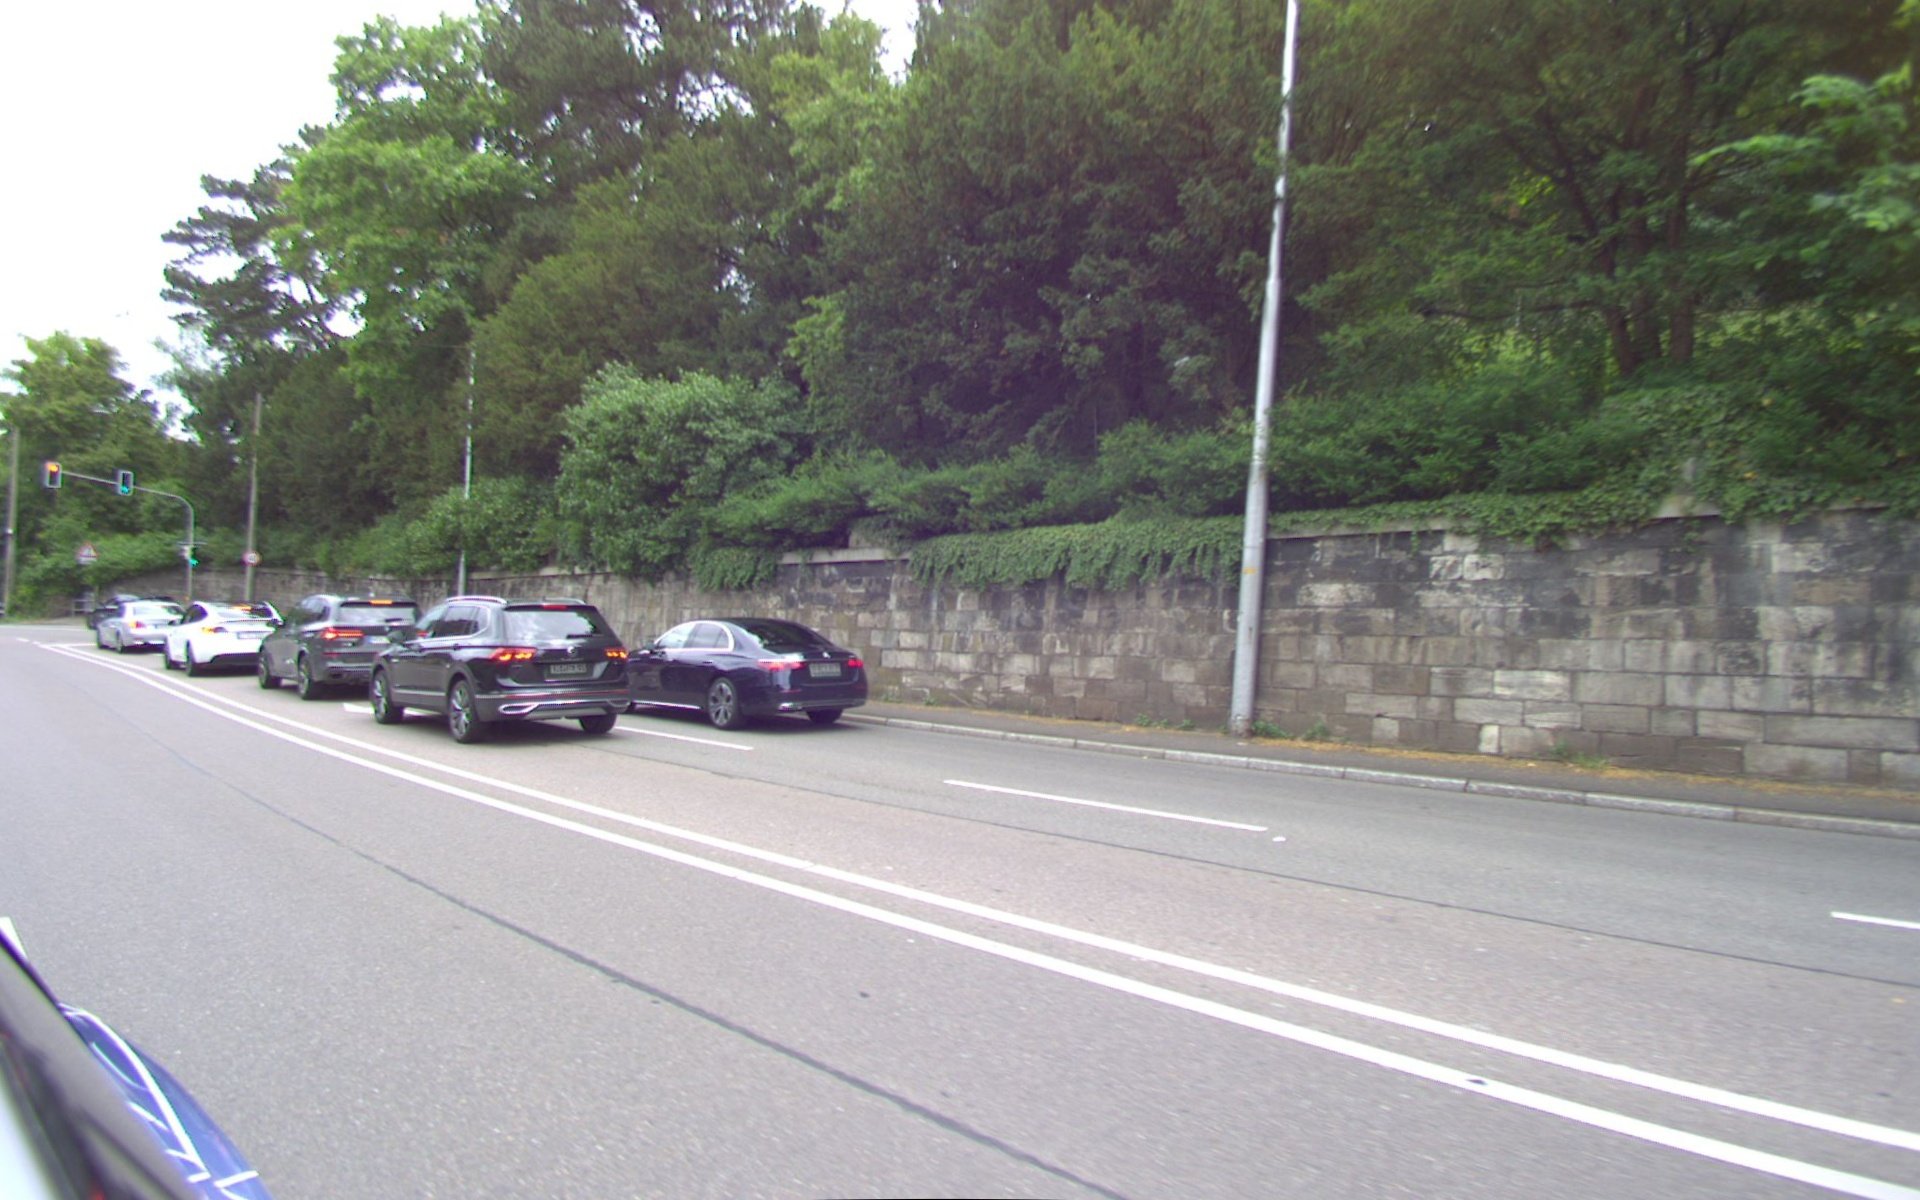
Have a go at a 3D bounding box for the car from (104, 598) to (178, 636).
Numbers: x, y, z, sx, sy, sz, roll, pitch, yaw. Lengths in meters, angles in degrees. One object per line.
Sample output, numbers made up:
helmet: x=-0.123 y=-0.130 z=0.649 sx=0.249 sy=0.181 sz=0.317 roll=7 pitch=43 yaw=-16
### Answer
car: x=-32.258 y=0.650 z=39.834 sx=3.956 sy=1.445 sz=1.614 roll=0 pitch=0 yaw=41

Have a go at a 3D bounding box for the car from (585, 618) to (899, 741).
car: x=-3.233 y=1.009 z=14.373 sx=4.755 sy=1.420 sz=1.980 roll=0 pitch=-2 yaw=43

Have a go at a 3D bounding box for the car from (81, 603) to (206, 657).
car: x=-24.604 y=0.874 z=30.432 sx=4.874 sy=1.481 sz=1.973 roll=0 pitch=-2 yaw=40

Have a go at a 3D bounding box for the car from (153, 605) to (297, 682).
car: x=-16.841 y=0.916 z=23.093 sx=4.789 sy=1.566 sz=1.817 roll=0 pitch=-1 yaw=43

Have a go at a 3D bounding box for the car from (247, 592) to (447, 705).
car: x=-11.131 y=0.801 z=18.203 sx=1.937 sy=1.763 sz=4.881 roll=3 pitch=-2 yaw=-45

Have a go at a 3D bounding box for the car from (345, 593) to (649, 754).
car: x=-5.973 y=0.808 z=12.776 sx=4.624 sy=1.664 sz=1.827 roll=0 pitch=-3 yaw=43
